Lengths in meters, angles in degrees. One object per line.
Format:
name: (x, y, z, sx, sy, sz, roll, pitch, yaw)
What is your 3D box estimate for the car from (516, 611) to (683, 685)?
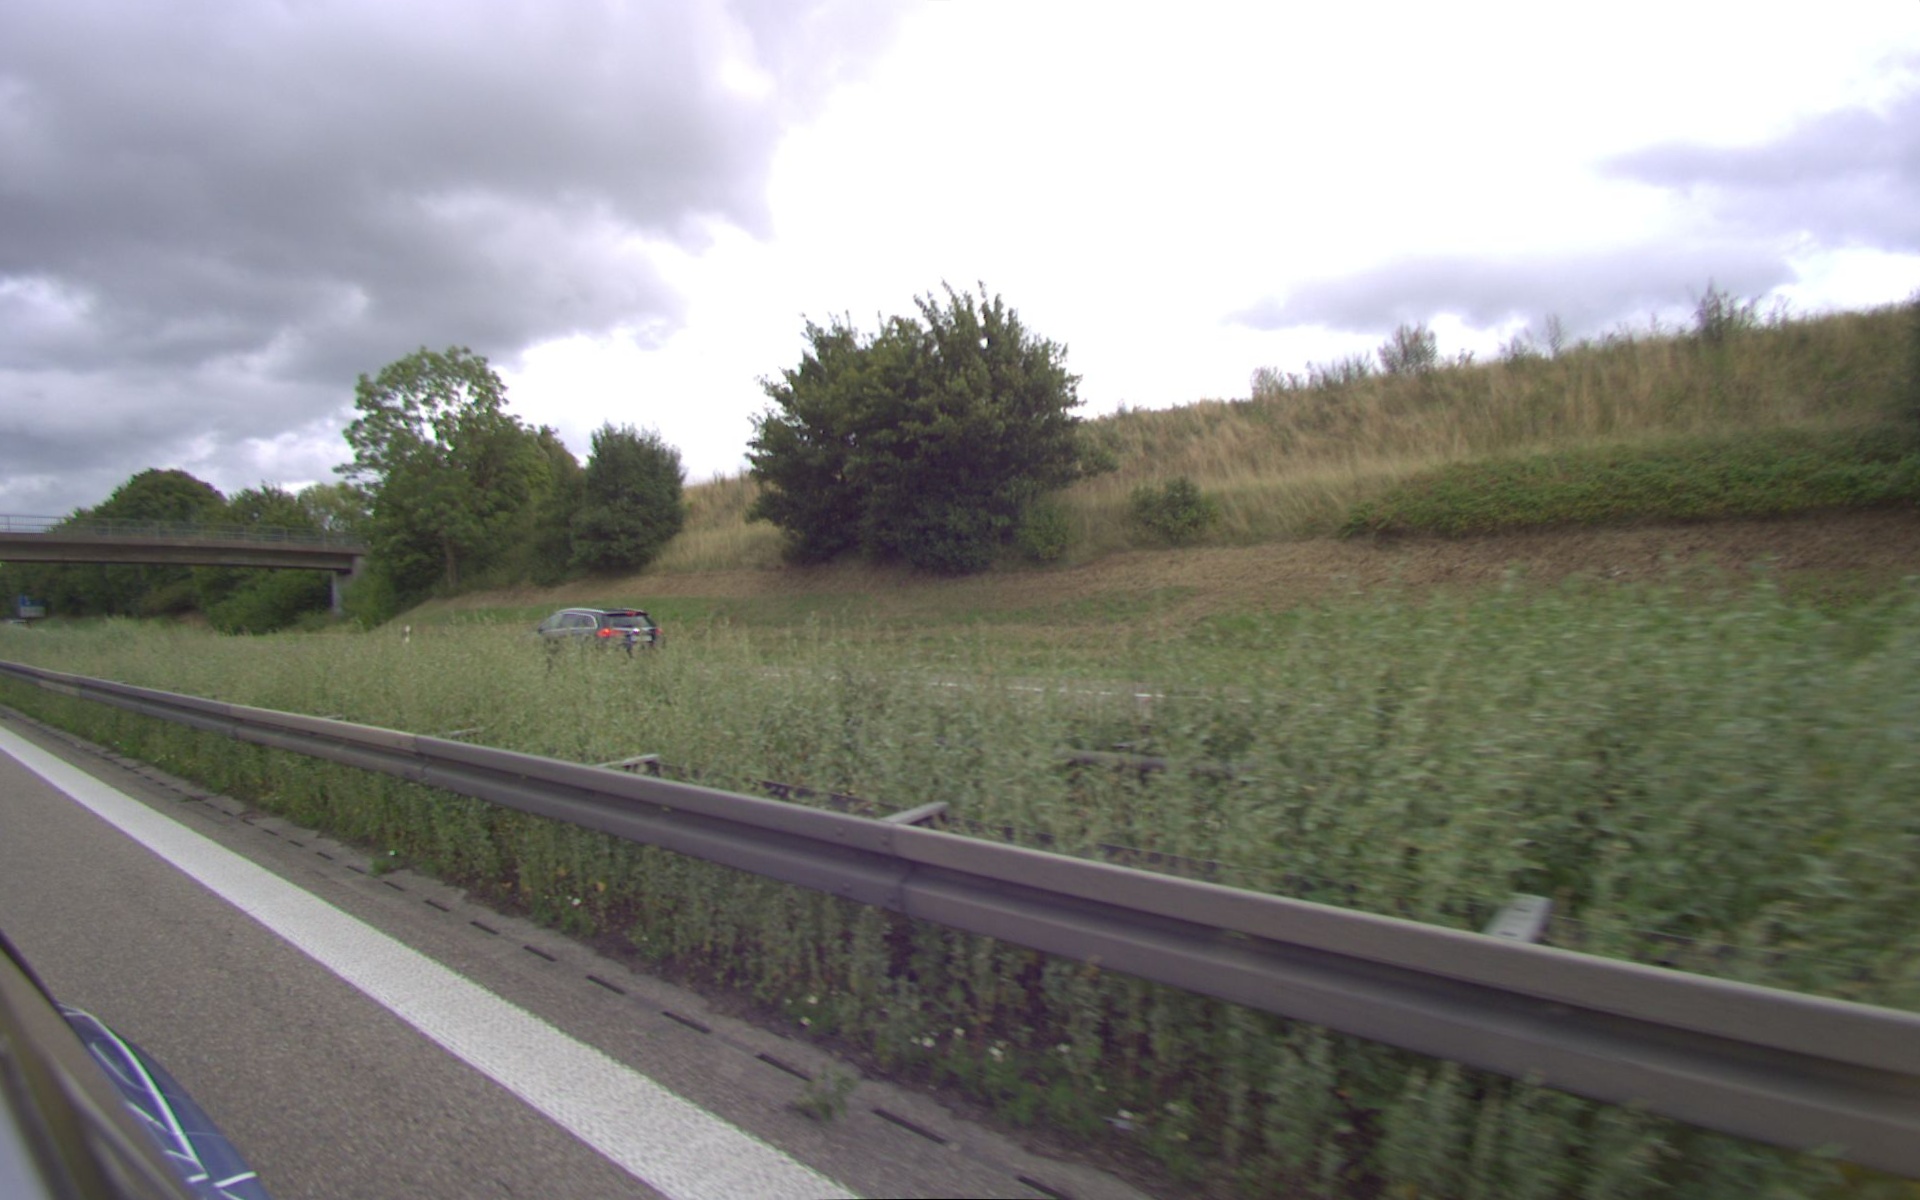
car: (-8.035, 1.012, 22.432, 3.997, 1.464, 1.728, -1, 0, 40)

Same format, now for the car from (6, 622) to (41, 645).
car: (-87.264, 3.079, 94.304, 3.999, 2.029, 1.972, -1, 0, 42)
